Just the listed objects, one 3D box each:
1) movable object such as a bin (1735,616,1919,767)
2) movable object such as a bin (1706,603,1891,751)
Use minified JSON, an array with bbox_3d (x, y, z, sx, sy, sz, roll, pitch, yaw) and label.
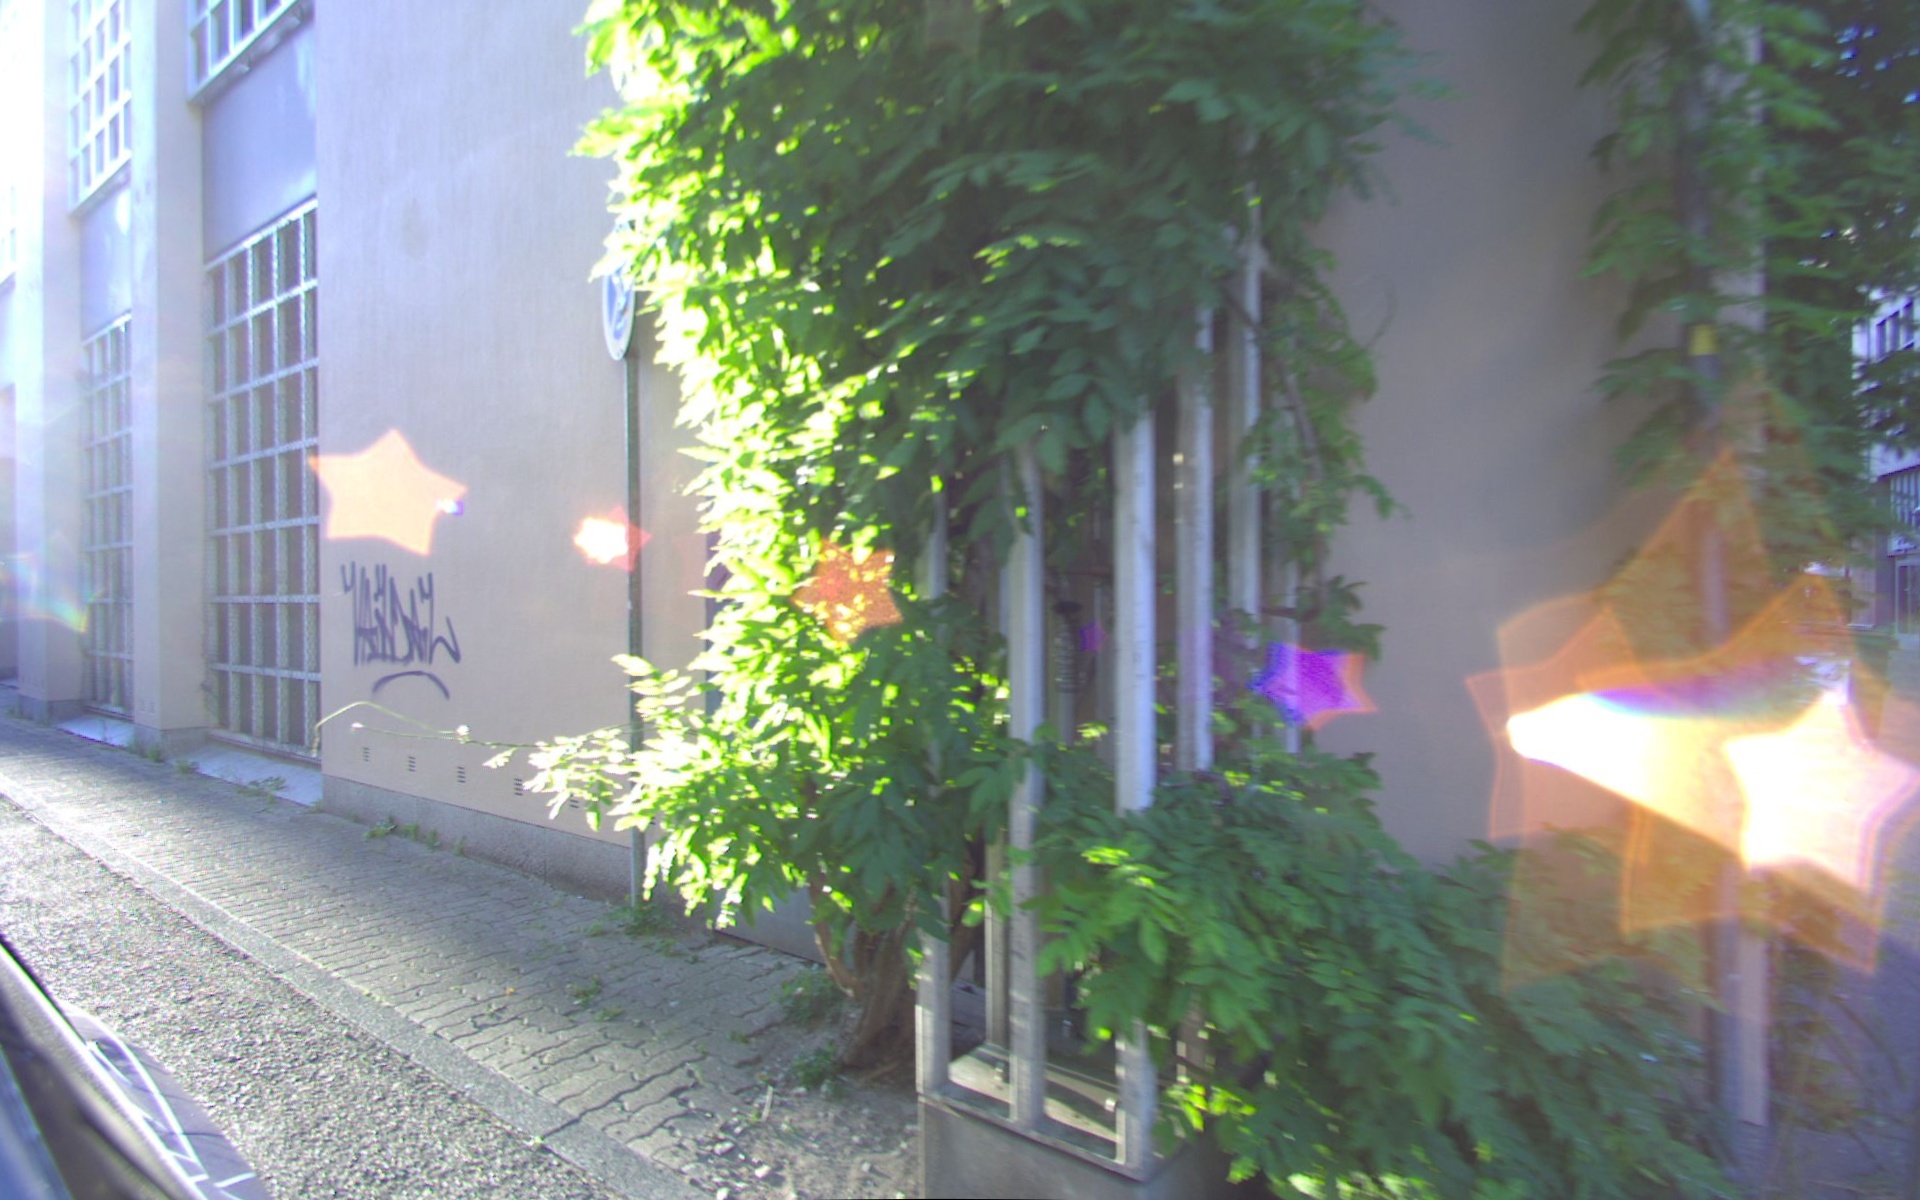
[{"bbox_3d":[8.827,0.877,10.271,1.225,1.339,1.159,3,1,25],"label":"movable object such as a bin"},{"bbox_3d":[9.379,0.810,11.404,1.270,1.478,1.159,3,1,25],"label":"movable object such as a bin"}]
